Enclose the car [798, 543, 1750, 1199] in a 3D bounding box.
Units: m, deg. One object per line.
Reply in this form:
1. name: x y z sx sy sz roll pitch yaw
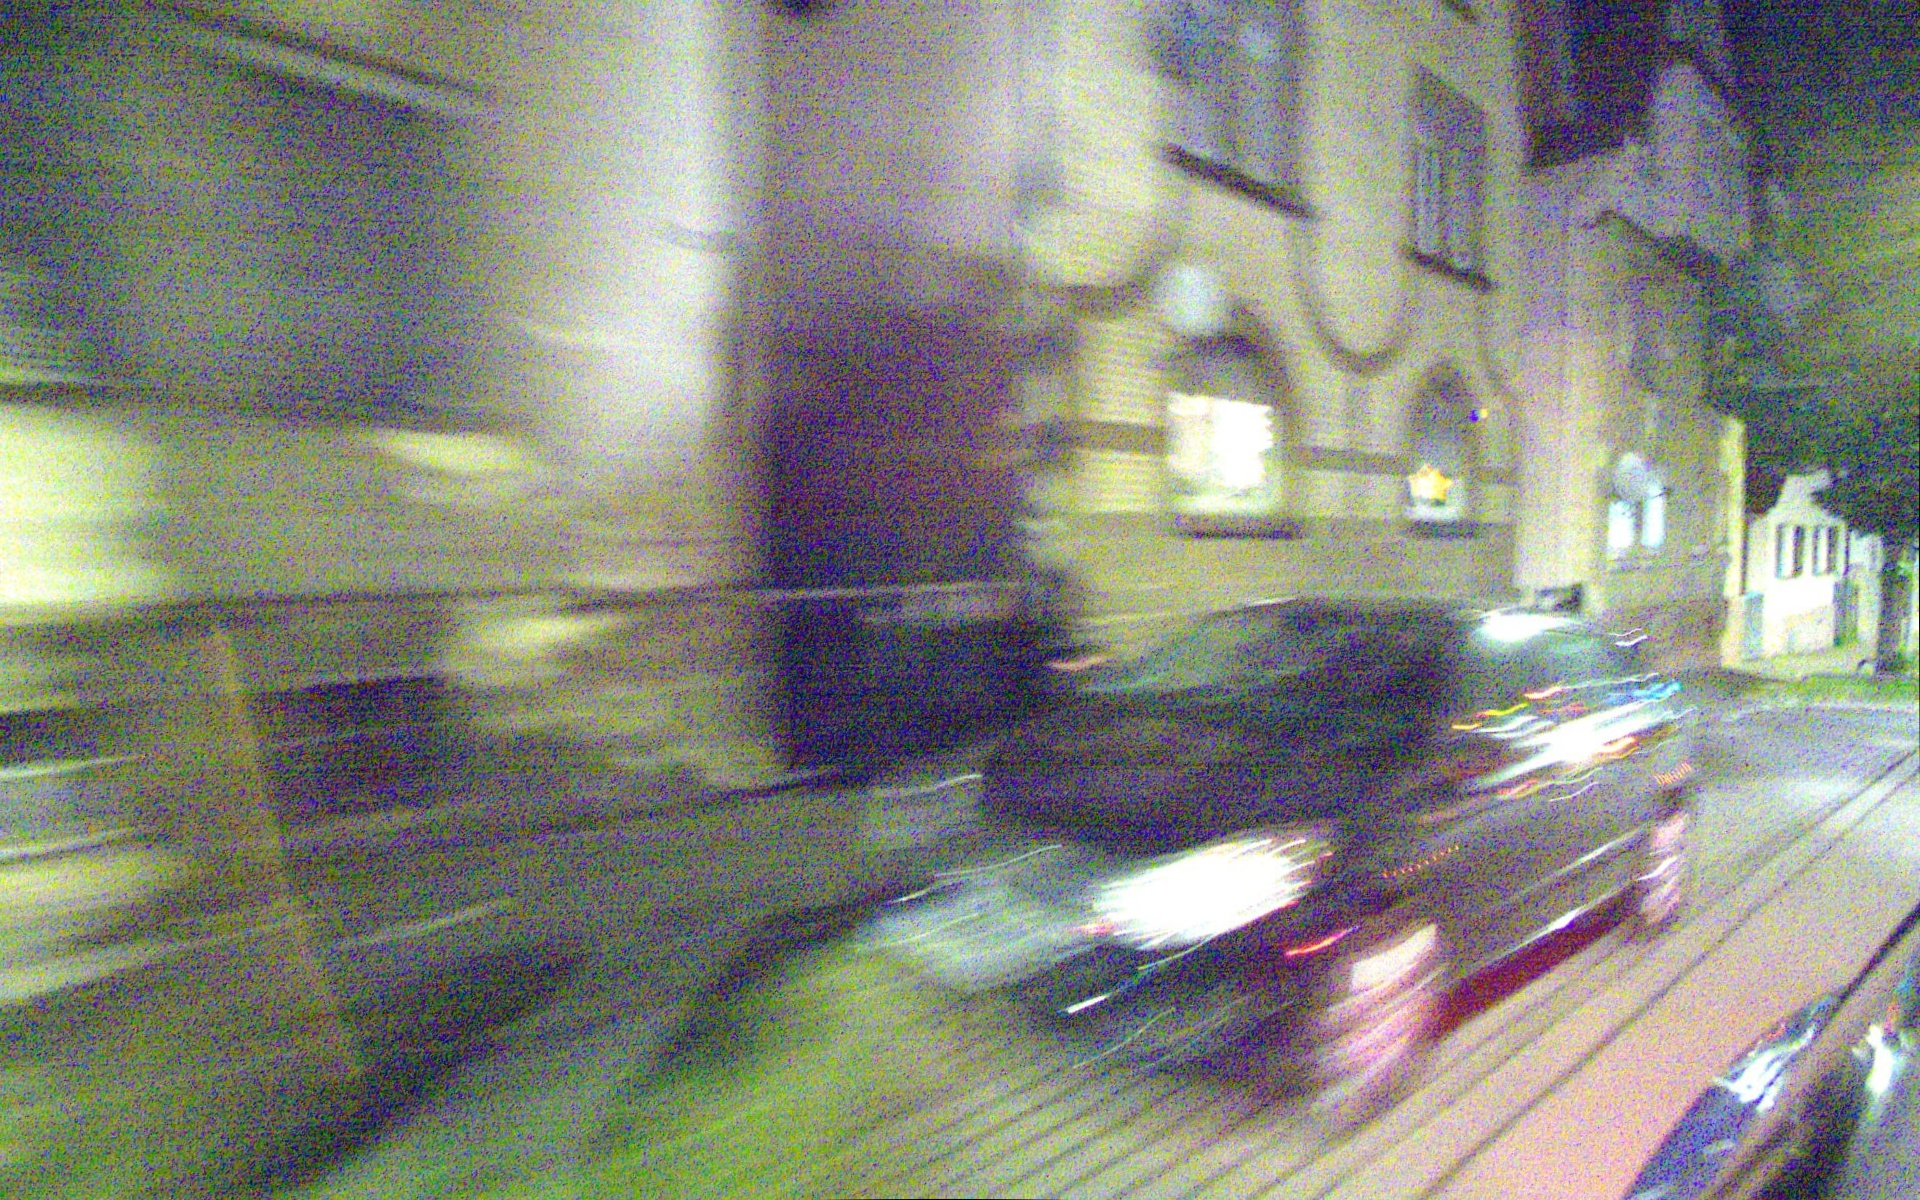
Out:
1. car: 1.552 0.604 4.077 4.008 1.494 1.767 0 3 -41
